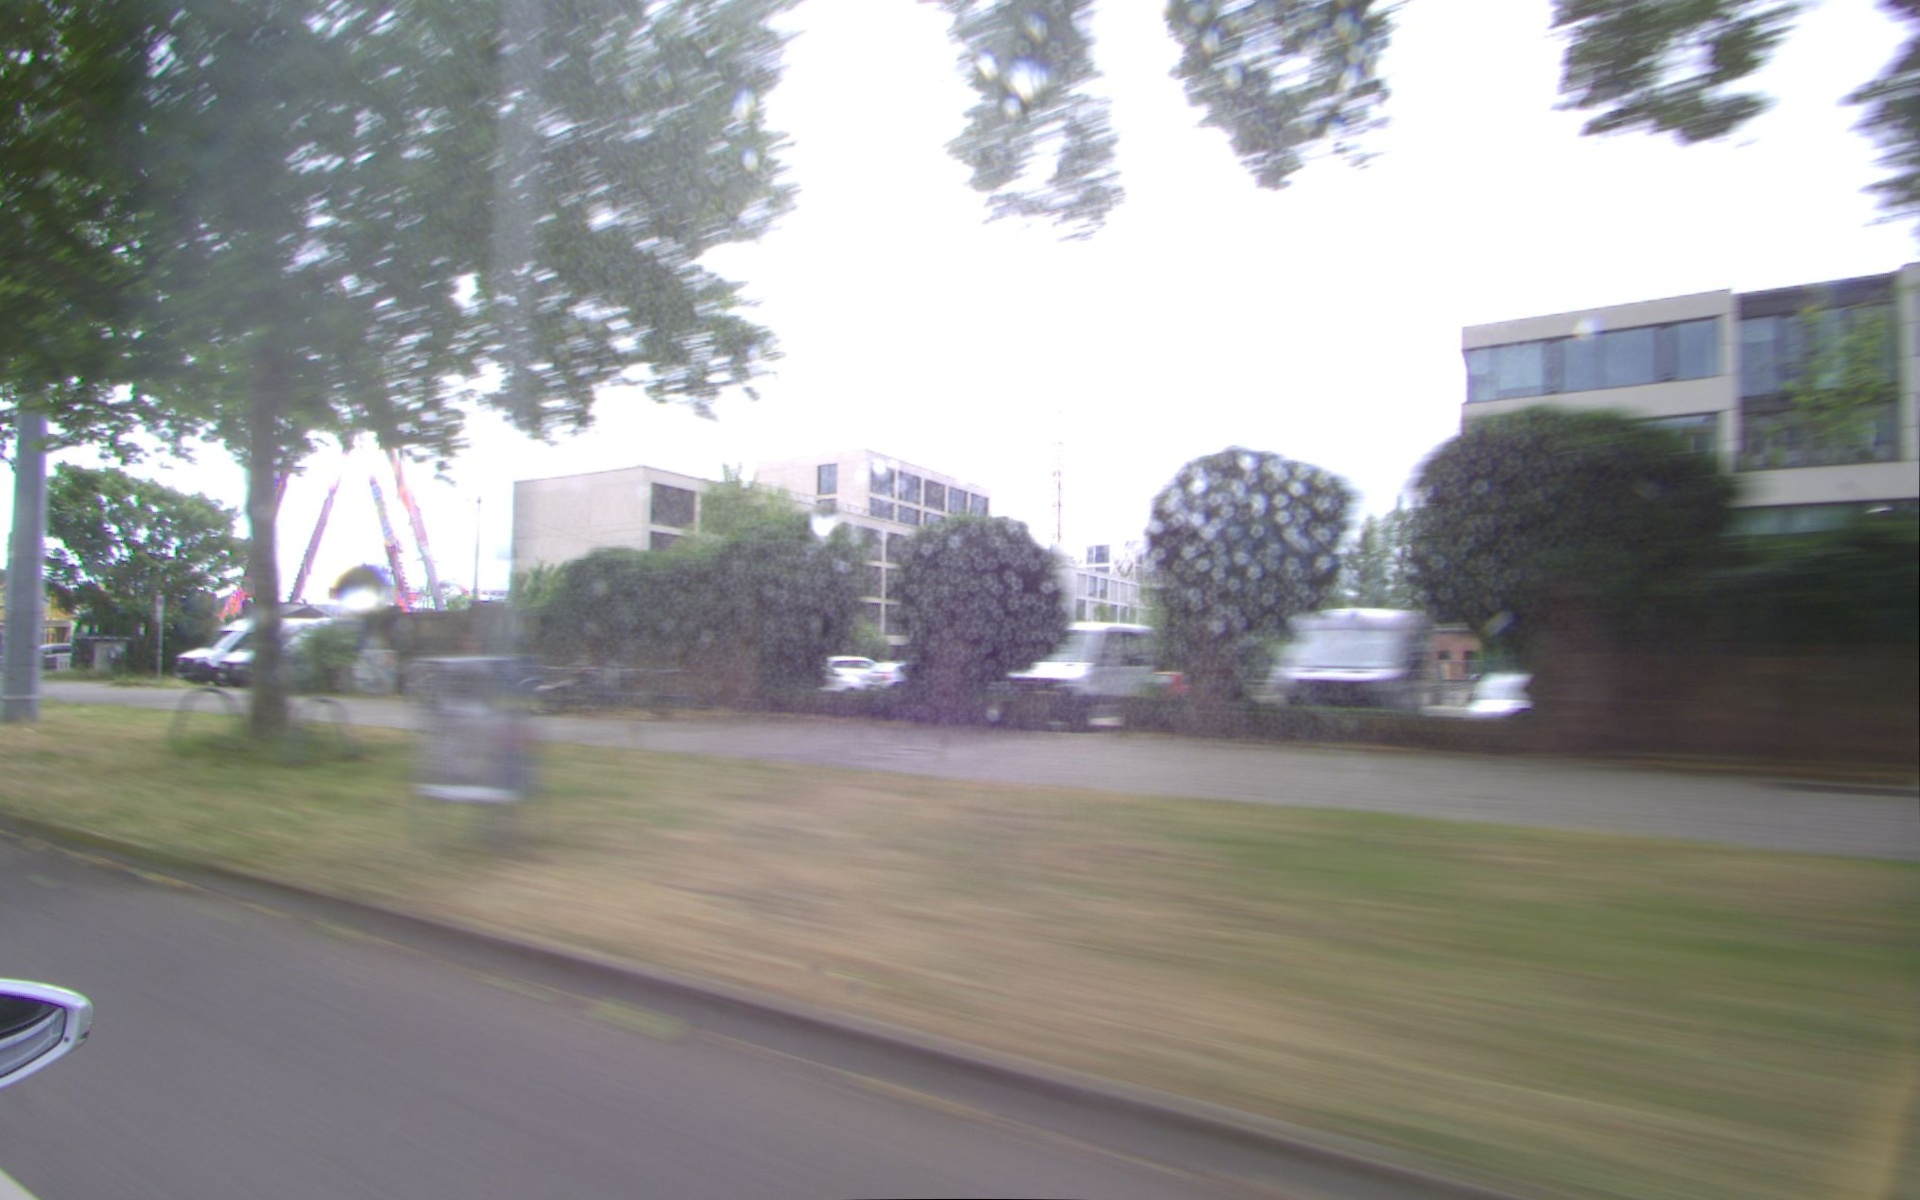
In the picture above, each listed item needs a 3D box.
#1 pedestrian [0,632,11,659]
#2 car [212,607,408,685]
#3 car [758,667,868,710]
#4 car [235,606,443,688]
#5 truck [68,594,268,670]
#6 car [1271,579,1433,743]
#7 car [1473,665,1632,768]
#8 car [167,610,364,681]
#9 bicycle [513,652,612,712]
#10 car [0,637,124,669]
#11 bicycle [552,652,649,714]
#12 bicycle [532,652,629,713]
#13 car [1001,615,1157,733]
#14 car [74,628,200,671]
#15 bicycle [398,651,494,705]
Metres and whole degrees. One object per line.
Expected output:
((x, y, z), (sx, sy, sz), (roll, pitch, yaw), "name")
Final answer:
((-61.288, 2.921, 64.122), (0.485, 1.707, 0.523), (0, -3, 15), "pedestrian")
((-24.195, 1.820, 37.597), (2.010, 2.564, 5.784), (-1, -6, 31), "car")
((-5.163, 3.091, 35.297), (3.528, 1.437, 1.601), (3, -4, -34), "car")
((-21.812, 1.736, 35.500), (2.141, 2.552, 5.780), (0, -5, 33), "car")
((-43.326, 1.871, 55.122), (2.561, 3.869, 8.186), (-1, -4, 30), "truck")
((7.103, 1.173, 17.766), (2.044, 2.449, 5.235), (-1, -6, 29), "car")
((9.783, 1.864, 16.793), (1.973, 1.428, 5.096), (-1, -5, 29), "car")
((-27.048, 1.839, 39.290), (2.069, 2.587, 6.020), (-1, -4, 30), "car")
((-8.033, 1.634, 20.323), (0.541, 1.108, 1.973), (-1, -2, 29), "bicycle")
((-47.903, 2.860, 53.503), (1.970, 1.594, 4.571), (-1, -4, 30), "car")
((-7.027, 1.600, 19.669), (0.541, 1.119, 1.888), (-1, -2, 29), "bicycle")
((-7.529, 1.616, 19.940), (0.541, 1.111, 1.898), (-1, -2, 29), "bicycle")
((2.775, 1.651, 22.148), (1.641, 2.291, 5.096), (-1, -5, 28), "car")
((-42.104, 2.526, 51.330), (1.970, 2.039, 4.570), (0, -2, 30), "car")
((-11.396, 1.705, 22.267), (0.541, 1.105, 1.920), (-1, -2, 29), "bicycle")
